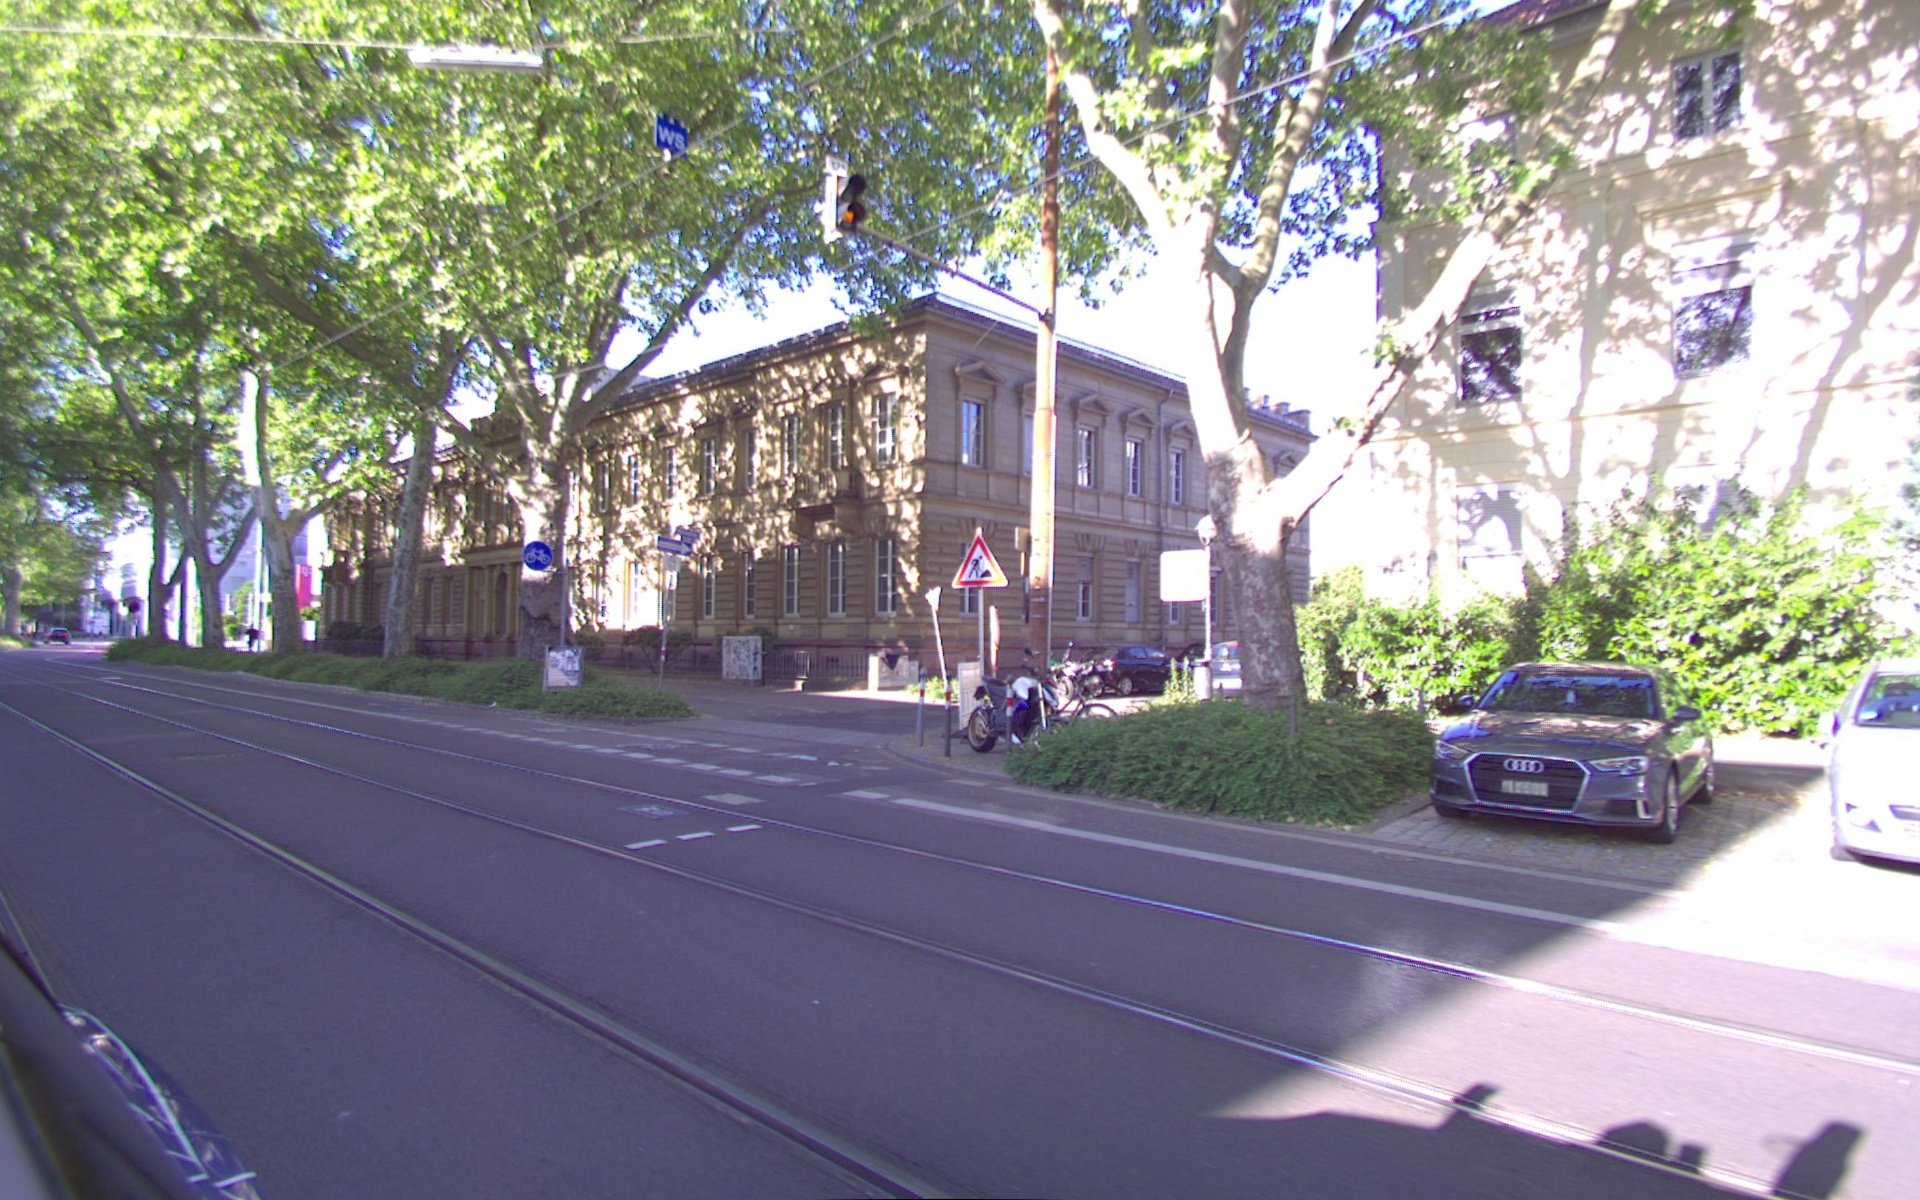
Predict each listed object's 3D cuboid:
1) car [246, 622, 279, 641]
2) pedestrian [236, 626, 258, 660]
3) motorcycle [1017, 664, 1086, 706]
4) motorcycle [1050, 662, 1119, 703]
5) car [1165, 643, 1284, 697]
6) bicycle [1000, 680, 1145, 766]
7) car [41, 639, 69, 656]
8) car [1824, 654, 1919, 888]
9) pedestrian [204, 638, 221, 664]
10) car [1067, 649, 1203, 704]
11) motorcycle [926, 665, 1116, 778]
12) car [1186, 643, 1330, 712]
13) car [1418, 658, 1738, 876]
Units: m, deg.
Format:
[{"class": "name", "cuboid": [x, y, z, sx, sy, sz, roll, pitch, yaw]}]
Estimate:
[{"class": "car", "cuboid": [-71.697, 3.231, 104.032, 3.998, 1.831, 1.828, -1, -3, 41]}, {"class": "pedestrian", "cuboid": [-38.828, 2.340, 55.111, 0.835, 1.863, 0.713, -1, -2, 34]}, {"class": "motorcycle", "cuboid": [2.399, 2.219, 26.760, 0.710, 0.984, 1.959, 0, -1, -37]}, {"class": "motorcycle", "cuboid": [3.378, 2.225, 27.552, 0.710, 0.984, 1.959, 0, -1, -37]}, {"class": "car", "cuboid": [8.521, 2.200, 32.449, 3.872, 1.502, 1.850, 0, -1, -42]}, {"class": "bicycle", "cuboid": [1.408, 1.553, 13.092, 0.534, 0.948, 2.036, 2, -3, -41]}, {"class": "car", "cuboid": [-92.567, 4.857, 103.471, 1.845, 1.642, 4.563, 3, -4, -44]}, {"class": "car", "cuboid": [7.797, 1.179, 7.709, 1.799, 1.464, 3.881, -1, -3, 40]}, {"class": "pedestrian", "cuboid": [-48.796, 3.337, 66.033, 0.660, 1.710, 0.665, -1, -2, 33]}, {"class": "car", "cuboid": [5.114, 2.163, 29.357, 3.871, 1.342, 1.850, 0, -1, -41]}, {"class": "motorcycle", "cuboid": [0.681, 1.408, 12.292, 0.873, 1.156, 2.394, 2, -3, -41]}, {"class": "car", "cuboid": [6.818, 1.750, 22.956, 1.693, 1.429, 3.736, -5, -6, 41]}, {"class": "car", "cuboid": [5.741, 1.295, 9.191, 1.847, 1.342, 3.879, -1, -1, 41]}]
